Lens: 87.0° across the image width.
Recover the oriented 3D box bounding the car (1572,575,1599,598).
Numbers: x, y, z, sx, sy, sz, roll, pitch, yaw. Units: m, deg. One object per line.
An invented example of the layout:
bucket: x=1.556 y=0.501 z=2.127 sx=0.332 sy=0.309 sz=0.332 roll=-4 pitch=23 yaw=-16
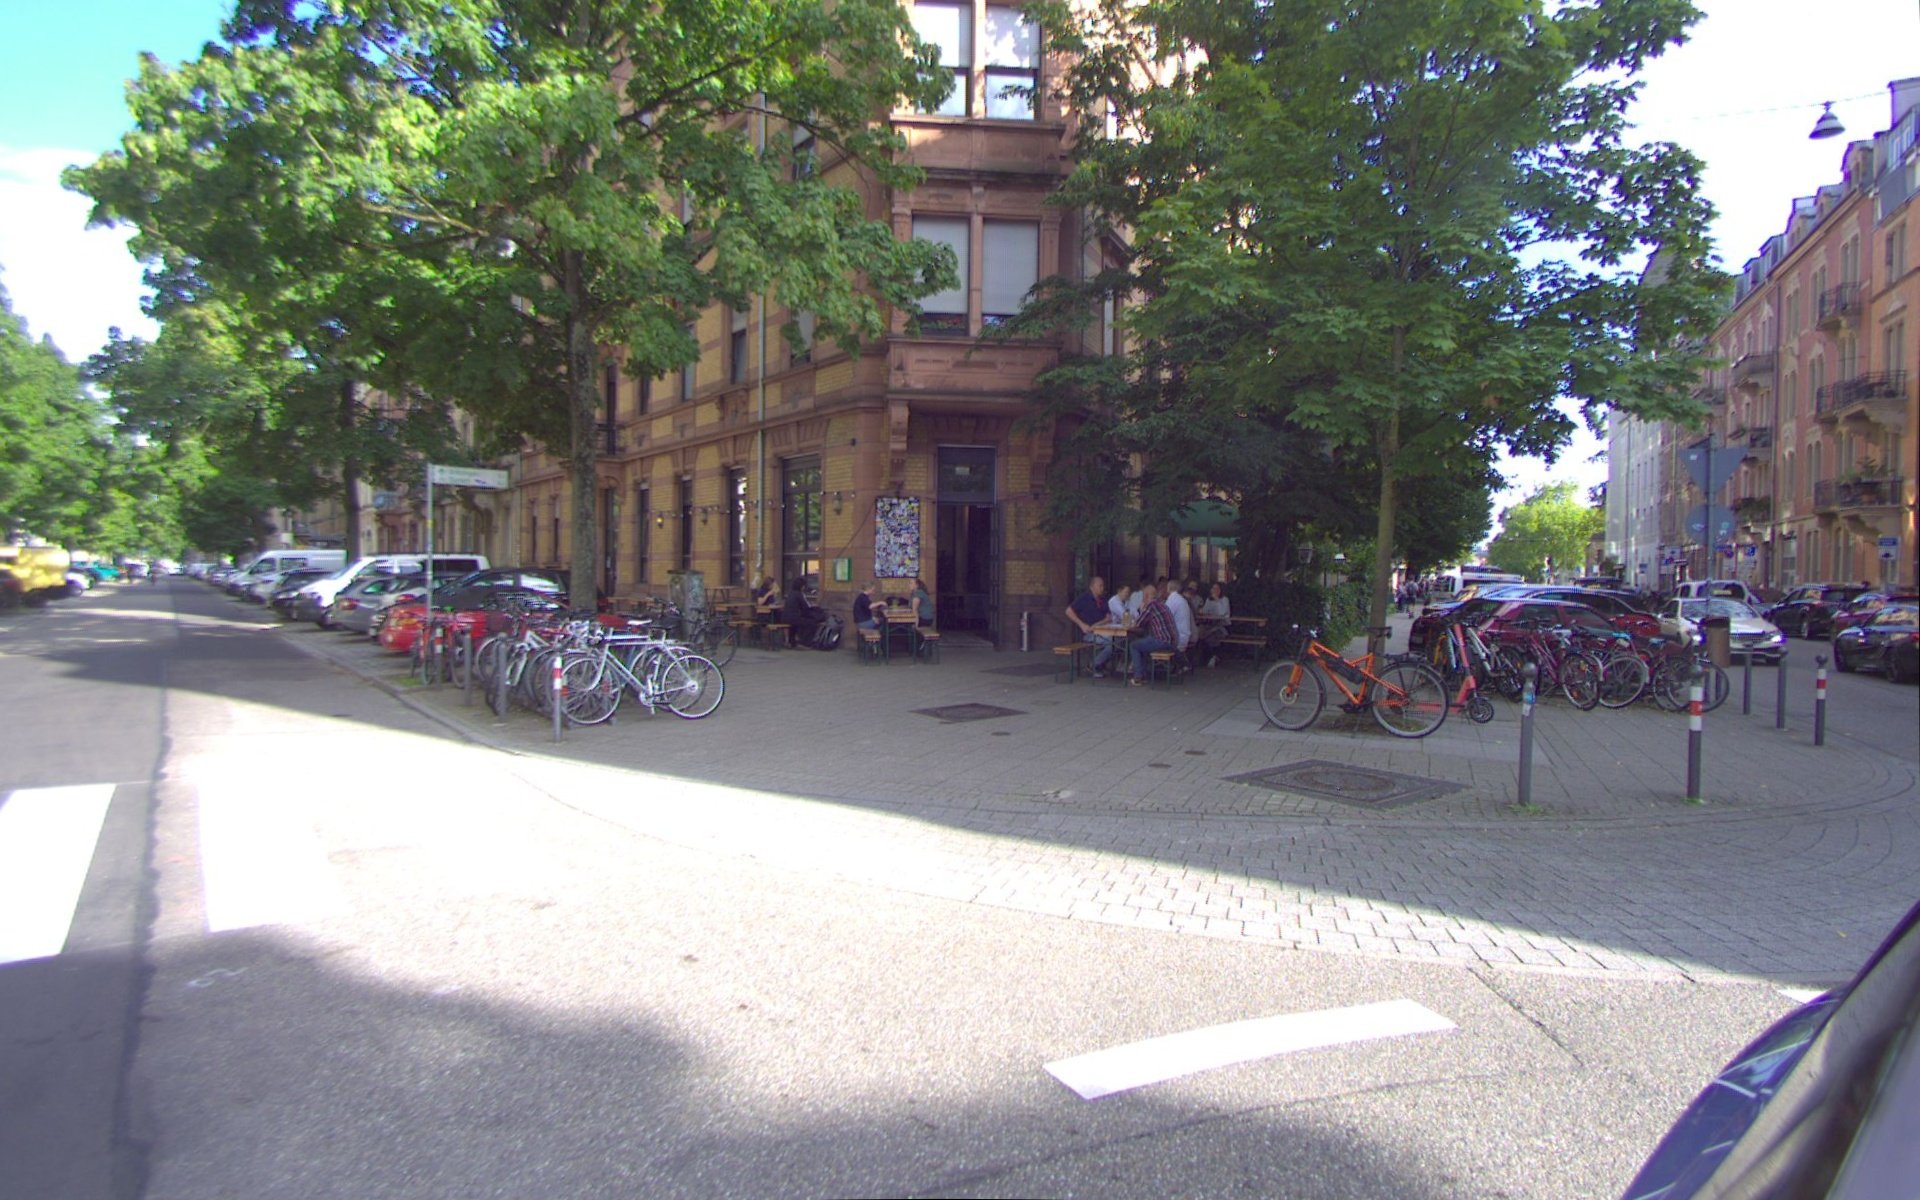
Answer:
car: x=55.225 y=-1.176 z=89.388 sx=1.711 sy=1.957 sz=3.974 roll=1 pitch=1 yaw=27

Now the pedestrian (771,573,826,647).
pedestrian: x=-2.932 y=0.166 z=18.390 sx=0.756 sy=1.300 sz=0.628 roll=-3 pitch=3 yaw=-40

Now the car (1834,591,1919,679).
car: x=17.802 y=0.579 z=18.413 sx=1.753 sy=1.399 sz=4.412 roll=-1 pitch=1 yaw=26

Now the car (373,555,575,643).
car: x=-10.392 y=-0.048 z=21.699 sx=3.639 sy=1.743 sz=1.860 roll=-1 pitch=0 yaw=-37

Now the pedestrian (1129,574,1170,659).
pedestrian: x=3.049 y=0.252 z=16.301 sx=0.538 sy=1.317 sz=0.621 roll=1 pitch=2 yaw=3

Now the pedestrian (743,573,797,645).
pedestrian: x=-3.572 y=0.151 z=19.039 sx=0.756 sy=1.300 sz=0.628 roll=-3 pitch=3 yaw=-40

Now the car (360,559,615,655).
car: x=-9.106 y=0.037 z=19.602 sx=4.229 sy=1.588 sz=2.009 roll=-3 pitch=3 yaw=-32

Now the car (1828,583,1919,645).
car: x=24.695 y=0.318 z=26.645 sx=1.745 sy=1.515 sz=4.097 roll=0 pitch=1 yaw=26

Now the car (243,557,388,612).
car: x=-24.657 y=-0.647 z=38.807 sx=4.384 sy=1.855 sz=1.933 roll=-4 pitch=4 yaw=-41

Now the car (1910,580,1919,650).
car: x=22.021 y=0.385 z=21.243 sx=1.844 sy=1.604 sz=4.358 roll=0 pitch=1 yaw=27

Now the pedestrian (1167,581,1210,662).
pedestrian: x=3.622 y=0.326 z=16.065 sx=0.538 sy=1.247 sz=0.621 roll=1 pitch=2 yaw=3

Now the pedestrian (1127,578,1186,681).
pedestrian: x=2.643 y=0.378 z=13.594 sx=0.719 sy=1.331 sz=0.518 roll=2 pitch=0 yaw=15

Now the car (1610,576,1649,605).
car: x=44.109 y=-0.646 z=66.705 sx=1.669 sy=1.807 sz=3.982 roll=1 pitch=2 yaw=27

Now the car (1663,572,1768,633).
car: x=25.548 y=0.044 z=34.391 sx=1.925 sy=1.903 sz=4.794 roll=0 pitch=1 yaw=25

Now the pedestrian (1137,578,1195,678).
pedestrian: x=2.865 y=0.371 z=14.068 sx=0.719 sy=1.331 sz=0.518 roll=2 pitch=0 yaw=15

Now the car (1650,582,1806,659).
car: x=17.771 y=0.394 z=23.674 sx=1.925 sy=1.617 sz=4.794 roll=0 pitch=1 yaw=25

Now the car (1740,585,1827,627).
car: x=29.046 y=0.176 z=35.807 sx=1.610 sy=1.396 sz=3.726 roll=0 pitch=1 yaw=27

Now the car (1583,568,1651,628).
car: x=24.072 y=-0.114 z=37.182 sx=1.778 sy=2.089 sz=3.959 roll=1 pitch=1 yaw=29

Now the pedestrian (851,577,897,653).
pedestrian: x=-1.459 y=0.241 z=17.145 sx=0.629 sy=1.239 sz=0.512 roll=-2 pitch=4 yaw=-31

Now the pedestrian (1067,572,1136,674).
pedestrian: x=1.996 y=0.299 z=14.339 sx=0.656 sy=1.396 sz=0.718 roll=0 pitch=2 yaw=-28

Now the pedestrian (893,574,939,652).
pedestrian: x=-0.755 y=0.212 z=17.473 sx=0.629 sy=1.274 sz=0.512 roll=-2 pitch=4 yaw=-31

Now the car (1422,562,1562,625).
car: x=21.606 y=-0.265 z=41.191 sx=4.644 sy=2.453 sz=2.002 roll=0 pitch=0 yaw=-5

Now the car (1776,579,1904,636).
car: x=27.048 y=0.190 z=31.283 sx=1.743 sy=1.618 sz=4.307 roll=0 pitch=1 yaw=23

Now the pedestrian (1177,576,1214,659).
pedestrian: x=3.936 y=0.281 z=16.943 sx=0.458 sy=1.343 sz=0.621 roll=1 pitch=2 yaw=3

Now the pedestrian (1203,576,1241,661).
pedestrian: x=4.242 y=0.284 z=16.420 sx=0.458 sy=1.343 sz=0.621 roll=1 pitch=2 yaw=3

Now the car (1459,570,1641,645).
car: x=14.660 y=0.145 z=25.291 sx=3.524 sy=1.632 sz=1.512 roll=3 pitch=2 yaw=4

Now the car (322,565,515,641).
car: x=-12.282 y=0.019 z=23.045 sx=3.640 sy=1.475 sz=1.669 roll=-4 pitch=2 yaw=-37

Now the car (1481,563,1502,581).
car: x=58.643 y=-3.053 z=111.573 sx=1.982 sy=1.912 sz=3.960 roll=0 pitch=1 yaw=29

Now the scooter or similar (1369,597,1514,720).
scooter or similar: x=5.242 y=0.603 z=11.069 sx=0.546 sy=1.226 sz=1.292 roll=3 pitch=0 yaw=-37

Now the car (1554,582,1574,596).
car: x=64.479 y=-1.182 z=108.050 sx=1.611 sy=1.396 sz=3.726 roll=1 pitch=1 yaw=27

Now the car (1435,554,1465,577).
car: x=39.583 y=-2.762 z=81.779 sx=1.828 sy=1.756 sz=3.972 roll=0 pitch=1 yaw=21

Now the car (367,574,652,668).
car: x=-7.412 y=0.280 z=16.874 sx=4.041 sy=1.286 sz=1.565 roll=-3 pitch=2 yaw=-40

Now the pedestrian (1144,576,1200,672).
pedestrian: x=3.075 y=0.335 z=14.645 sx=0.719 sy=1.331 sz=0.605 roll=2 pitch=1 yaw=15
